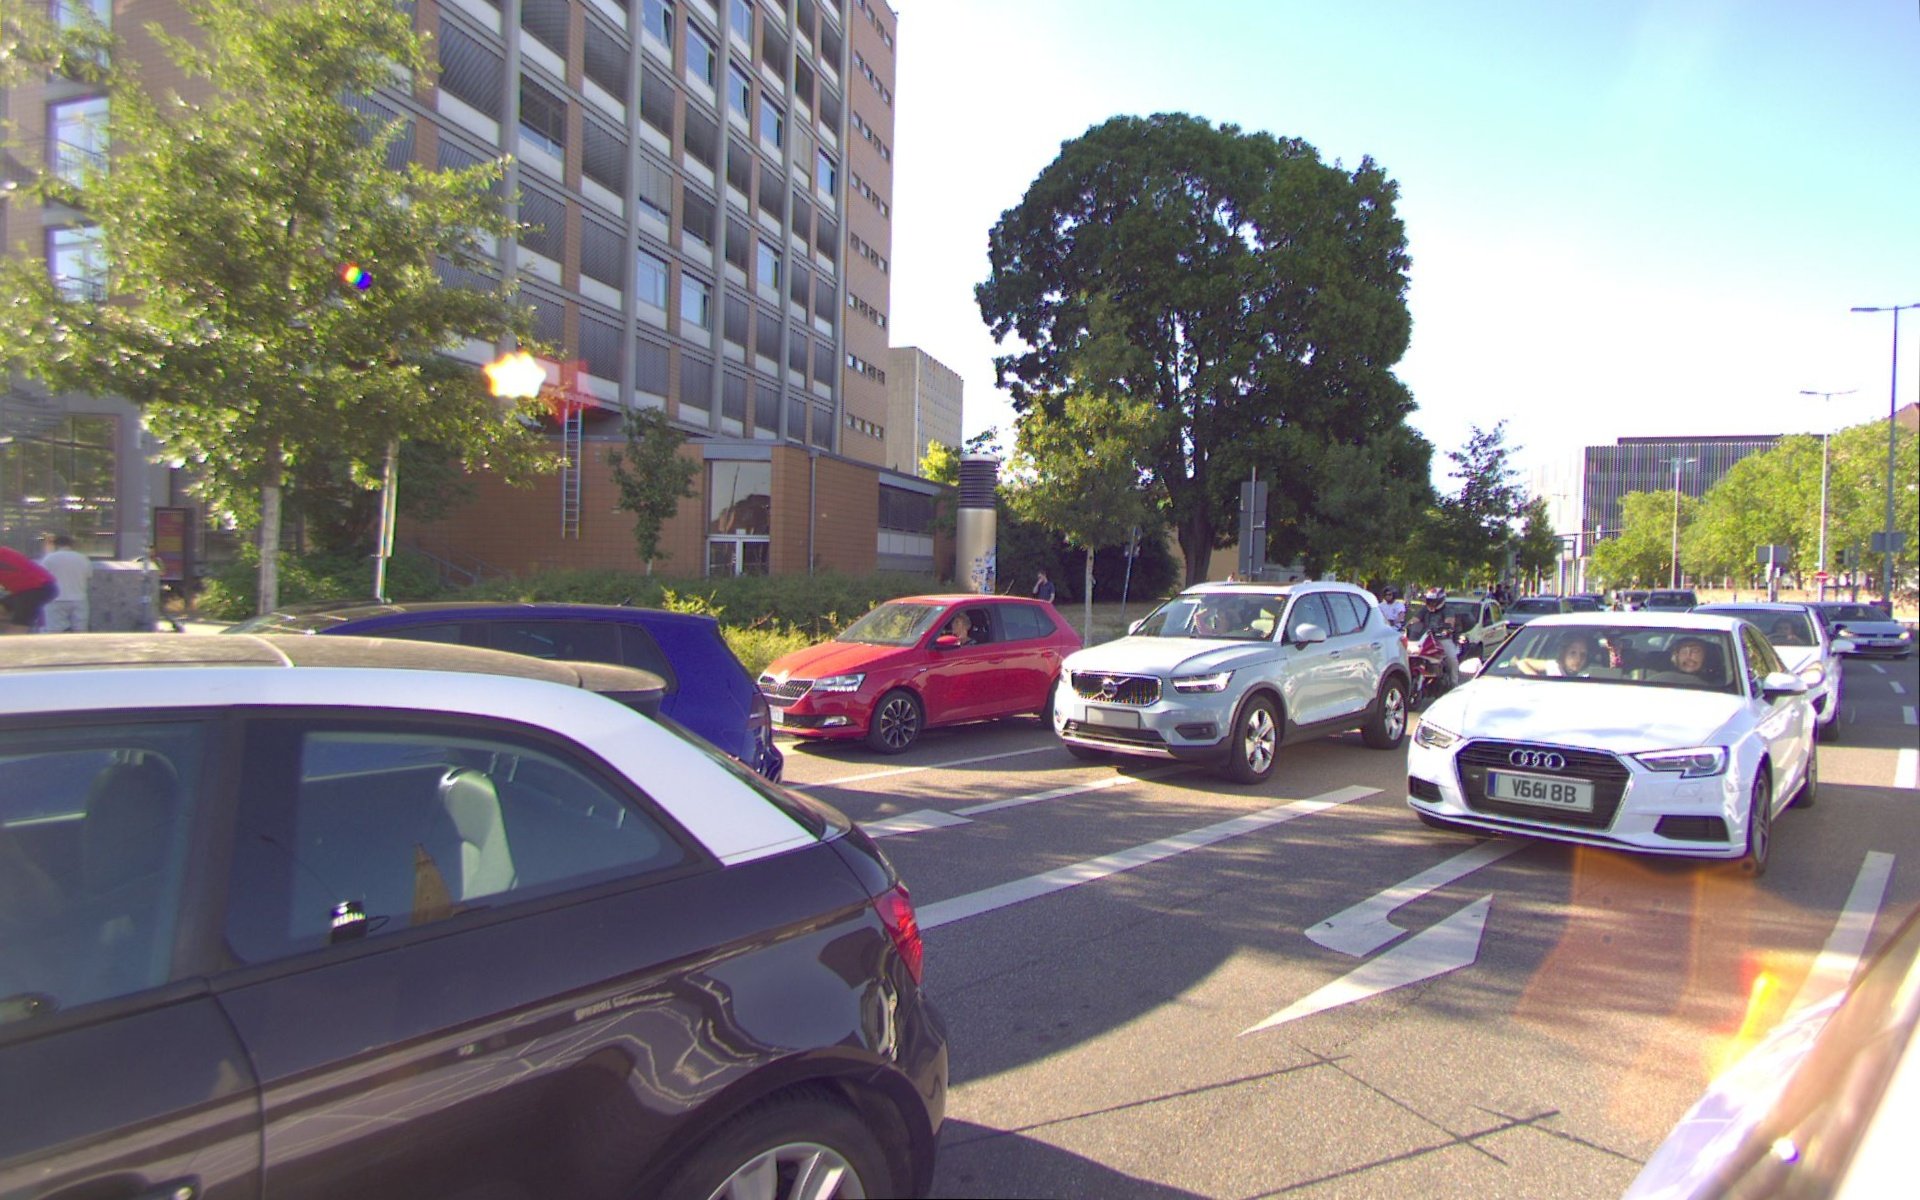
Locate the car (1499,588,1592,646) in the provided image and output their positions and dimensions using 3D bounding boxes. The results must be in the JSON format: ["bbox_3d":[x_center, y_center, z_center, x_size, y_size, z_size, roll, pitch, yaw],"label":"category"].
[{"bbox_3d":[17.360,0.448,29.910,1.738,1.564,3.943,2,2,39],"label":"car"}]

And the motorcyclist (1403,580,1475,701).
[{"bbox_3d":[6.591,0.530,13.924,0.709,1.610,0.679,0,0,44],"label":"motorcyclist"}]

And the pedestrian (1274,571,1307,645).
[{"bbox_3d":[8.656,0.190,26.497,0.681,1.910,0.465,-1,0,-24],"label":"pedestrian"}]

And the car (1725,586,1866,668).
[{"bbox_3d":[18.068,0.509,22.067,1.732,1.564,3.956,2,2,31],"label":"car"}]

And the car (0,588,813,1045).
[{"bbox_3d":[-2.765,0.678,4.539,3.931,1.422,1.626,-1,1,-42],"label":"car"}]

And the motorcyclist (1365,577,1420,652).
[{"bbox_3d":[7.876,0.253,18.429,0.716,1.321,0.724,0,0,44],"label":"motorcyclist"}]

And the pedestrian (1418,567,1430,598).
[{"bbox_3d":[24.718,-0.927,53.875,0.543,1.627,0.598,0,0,29],"label":"pedestrian"}]

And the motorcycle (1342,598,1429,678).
[{"bbox_3d":[7.680,0.645,18.207,0.716,1.321,2.200,0,1,44],"label":"motorcycle"}]

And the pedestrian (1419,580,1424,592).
[{"bbox_3d":[59.888,-1.800,131.371,0.477,1.504,0.409,0,1,-41],"label":"pedestrian"}]

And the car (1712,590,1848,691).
[{"bbox_3d":[13.937,0.590,17.148,1.622,1.478,3.982,0,1,41],"label":"car"}]

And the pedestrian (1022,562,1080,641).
[{"bbox_3d":[2.057,0.033,22.944,1.005,1.742,0.873,0,0,38],"label":"pedestrian"}]

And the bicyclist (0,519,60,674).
[{"bbox_3d":[-10.048,-0.038,10.594,0.855,1.580,0.617,-1,0,-36],"label":"bicyclist"}]

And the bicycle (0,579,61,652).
[{"bbox_3d":[-13.451,0.220,14.266,1.133,1.016,0.357,-1,0,-12],"label":"bicycle"}]

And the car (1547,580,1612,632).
[{"bbox_3d":[23.374,0.183,38.133,1.867,1.838,3.951,2,2,34],"label":"car"}]

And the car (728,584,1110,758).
[{"bbox_3d":[-0.284,0.589,10.686,3.975,1.478,1.625,-1,1,-44],"label":"car"}]

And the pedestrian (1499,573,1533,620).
[{"bbox_3d":[24.372,-0.166,44.334,1.137,2.039,1.269,0,0,38],"label":"pedestrian"}]

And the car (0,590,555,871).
[{"bbox_3d":[-5.062,0.671,6.275,4.435,1.422,1.725,-1,1,-42],"label":"car"}]

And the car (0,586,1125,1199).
[{"bbox_3d":[-1.640,0.708,1.521,3.931,1.422,1.626,-1,1,-42],"label":"car"}]

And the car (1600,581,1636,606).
[{"bbox_3d":[49.065,-0.503,75.562,1.862,1.838,3.961,2,1,28],"label":"car"}]

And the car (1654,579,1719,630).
[{"bbox_3d":[28.292,0.124,39.505,1.867,1.838,3.951,2,2,34],"label":"car"}]

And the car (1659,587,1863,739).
[{"bbox_3d":[9.654,0.606,12.080,1.623,1.478,3.980,0,1,43],"label":"car"}]

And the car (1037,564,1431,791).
[{"bbox_3d":[2.697,0.522,9.339,4.155,1.641,1.625,-1,1,-44],"label":"car"}]

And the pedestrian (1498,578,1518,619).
[{"bbox_3d":[21.840,-0.054,40.301,0.593,1.615,0.586,0,0,40],"label":"pedestrian"}]

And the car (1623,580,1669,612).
[{"bbox_3d":[41.777,-0.272,61.695,1.862,1.838,3.961,2,1,28],"label":"car"}]

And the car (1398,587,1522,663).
[{"bbox_3d":[11.493,0.498,23.129,1.737,1.543,3.945,2,2,38],"label":"car"}]

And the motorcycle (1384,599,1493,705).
[{"bbox_3d":[6.647,0.662,13.995,0.716,1.321,2.200,0,1,44],"label":"motorcycle"}]

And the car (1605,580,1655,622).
[{"bbox_3d":[31.527,0.013,47.636,1.867,1.838,3.951,2,2,34],"label":"car"}]

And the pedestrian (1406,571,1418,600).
[{"bbox_3d":[24.195,-0.797,54.174,0.543,1.549,0.598,0,0,29],"label":"pedestrian"}]

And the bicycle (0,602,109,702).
[{"bbox_3d":[-10.179,0.544,10.500,1.997,0.975,0.660,-1,2,-36],"label":"bicycle"}]

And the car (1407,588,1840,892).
[{"bbox_3d":[4.571,0.650,6.734,3.770,1.422,1.625,-1,1,-44],"label":"car"}]

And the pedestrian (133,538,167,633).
[{"bbox_3d":[-15.241,-0.273,19.047,0.441,1.754,0.372,0,0,34],"label":"pedestrian"}]

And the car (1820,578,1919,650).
[{"bbox_3d":[23.804,0.308,26.472,1.737,1.727,3.946,2,2,37],"label":"car"}]

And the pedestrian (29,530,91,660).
[{"bbox_3d":[-11.978,-0.083,13.465,0.592,1.660,0.678,-1,4,-43],"label":"pedestrian"}]
